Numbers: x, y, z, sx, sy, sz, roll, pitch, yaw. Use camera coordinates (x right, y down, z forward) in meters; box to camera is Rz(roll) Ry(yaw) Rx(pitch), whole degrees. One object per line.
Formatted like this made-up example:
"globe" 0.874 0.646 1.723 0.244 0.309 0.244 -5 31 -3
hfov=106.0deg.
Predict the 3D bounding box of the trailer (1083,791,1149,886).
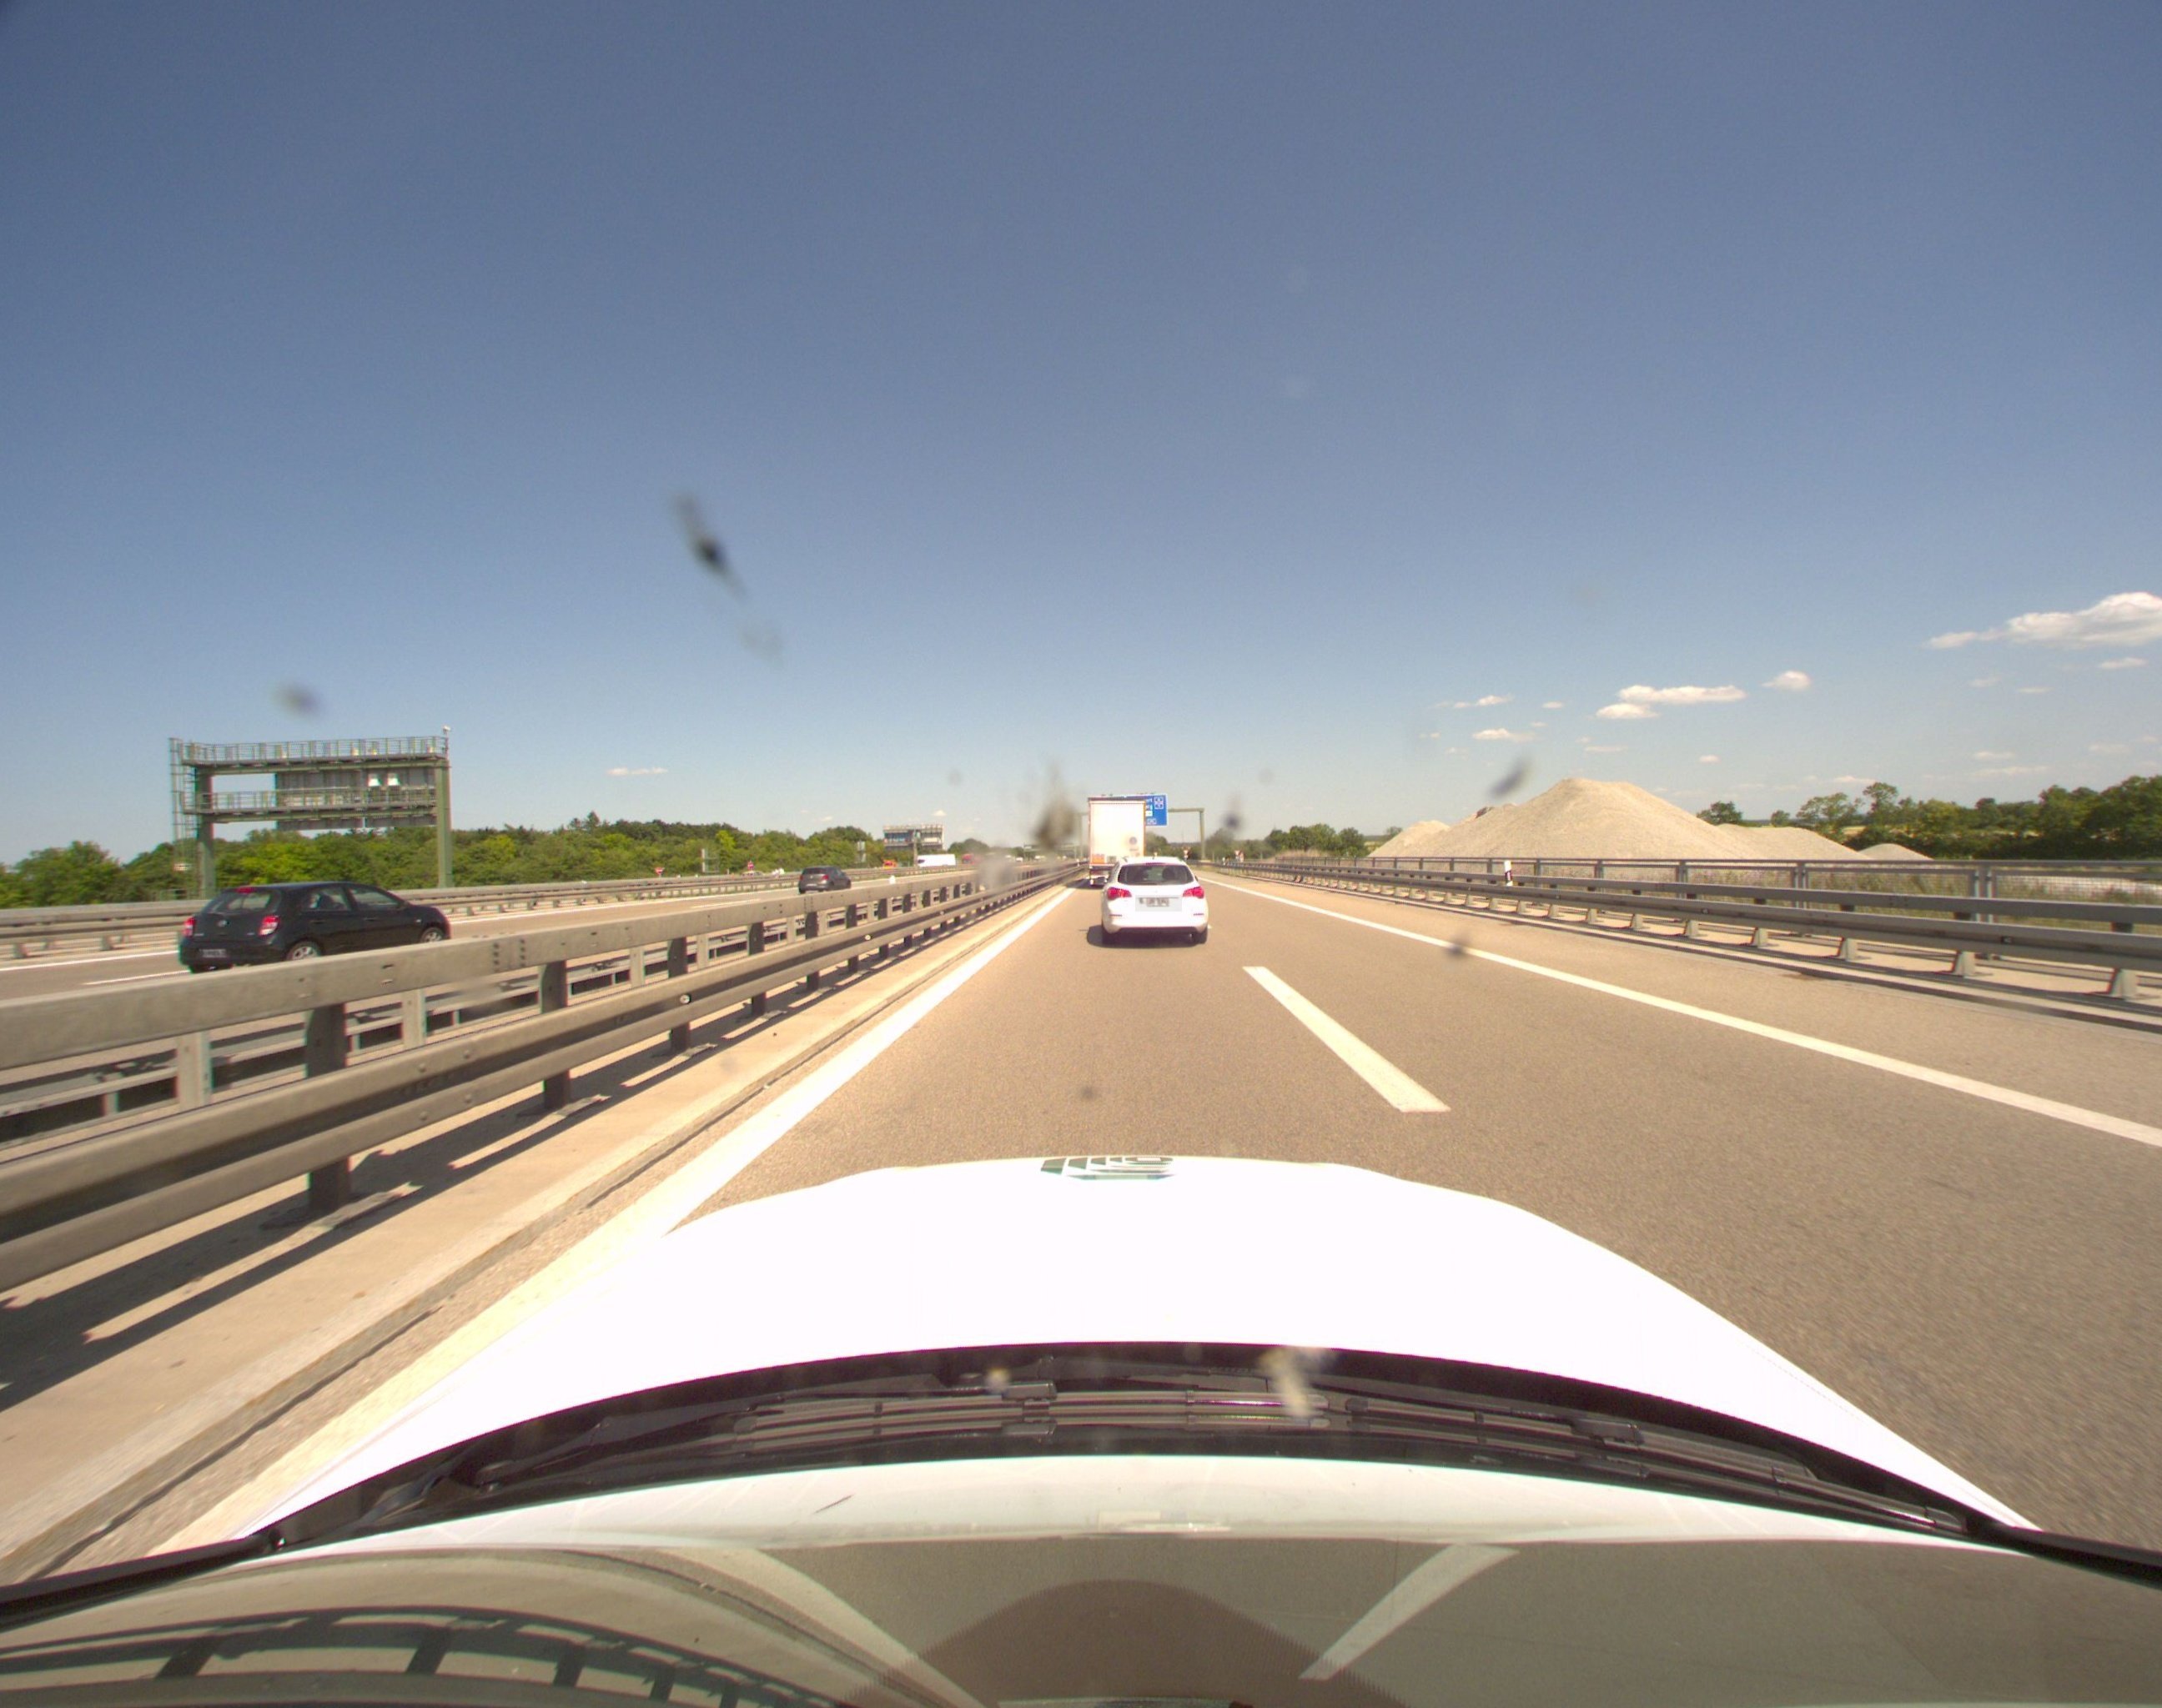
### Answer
"trailer" 1.784 -0.624 41.665 2.901 4.145 11.264 0 -1 3

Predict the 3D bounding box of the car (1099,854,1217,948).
"car" 1.309 0.739 15.013 1.847 1.443 4.374 -1 0 2

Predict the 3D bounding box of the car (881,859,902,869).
"car" -30.184 1.579 129.801 1.830 1.517 5.301 -2 0 2

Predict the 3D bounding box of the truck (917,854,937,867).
"truck" -38.946 1.646 206.021 1.975 3.300 5.420 -2 0 28

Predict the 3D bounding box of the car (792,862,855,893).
"car" -13.403 1.196 42.632 1.755 1.422 4.219 -1 0 2

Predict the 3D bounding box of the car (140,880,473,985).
"car" -13.458 1.273 14.600 1.822 1.432 4.219 -1 0 2

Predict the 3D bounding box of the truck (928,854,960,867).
"truck" -35.782 1.648 213.143 1.976 3.300 12.236 -2 0 22

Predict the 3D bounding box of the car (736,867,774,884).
"car" -33.636 2.212 84.120 1.830 1.517 4.534 -2 0 2
